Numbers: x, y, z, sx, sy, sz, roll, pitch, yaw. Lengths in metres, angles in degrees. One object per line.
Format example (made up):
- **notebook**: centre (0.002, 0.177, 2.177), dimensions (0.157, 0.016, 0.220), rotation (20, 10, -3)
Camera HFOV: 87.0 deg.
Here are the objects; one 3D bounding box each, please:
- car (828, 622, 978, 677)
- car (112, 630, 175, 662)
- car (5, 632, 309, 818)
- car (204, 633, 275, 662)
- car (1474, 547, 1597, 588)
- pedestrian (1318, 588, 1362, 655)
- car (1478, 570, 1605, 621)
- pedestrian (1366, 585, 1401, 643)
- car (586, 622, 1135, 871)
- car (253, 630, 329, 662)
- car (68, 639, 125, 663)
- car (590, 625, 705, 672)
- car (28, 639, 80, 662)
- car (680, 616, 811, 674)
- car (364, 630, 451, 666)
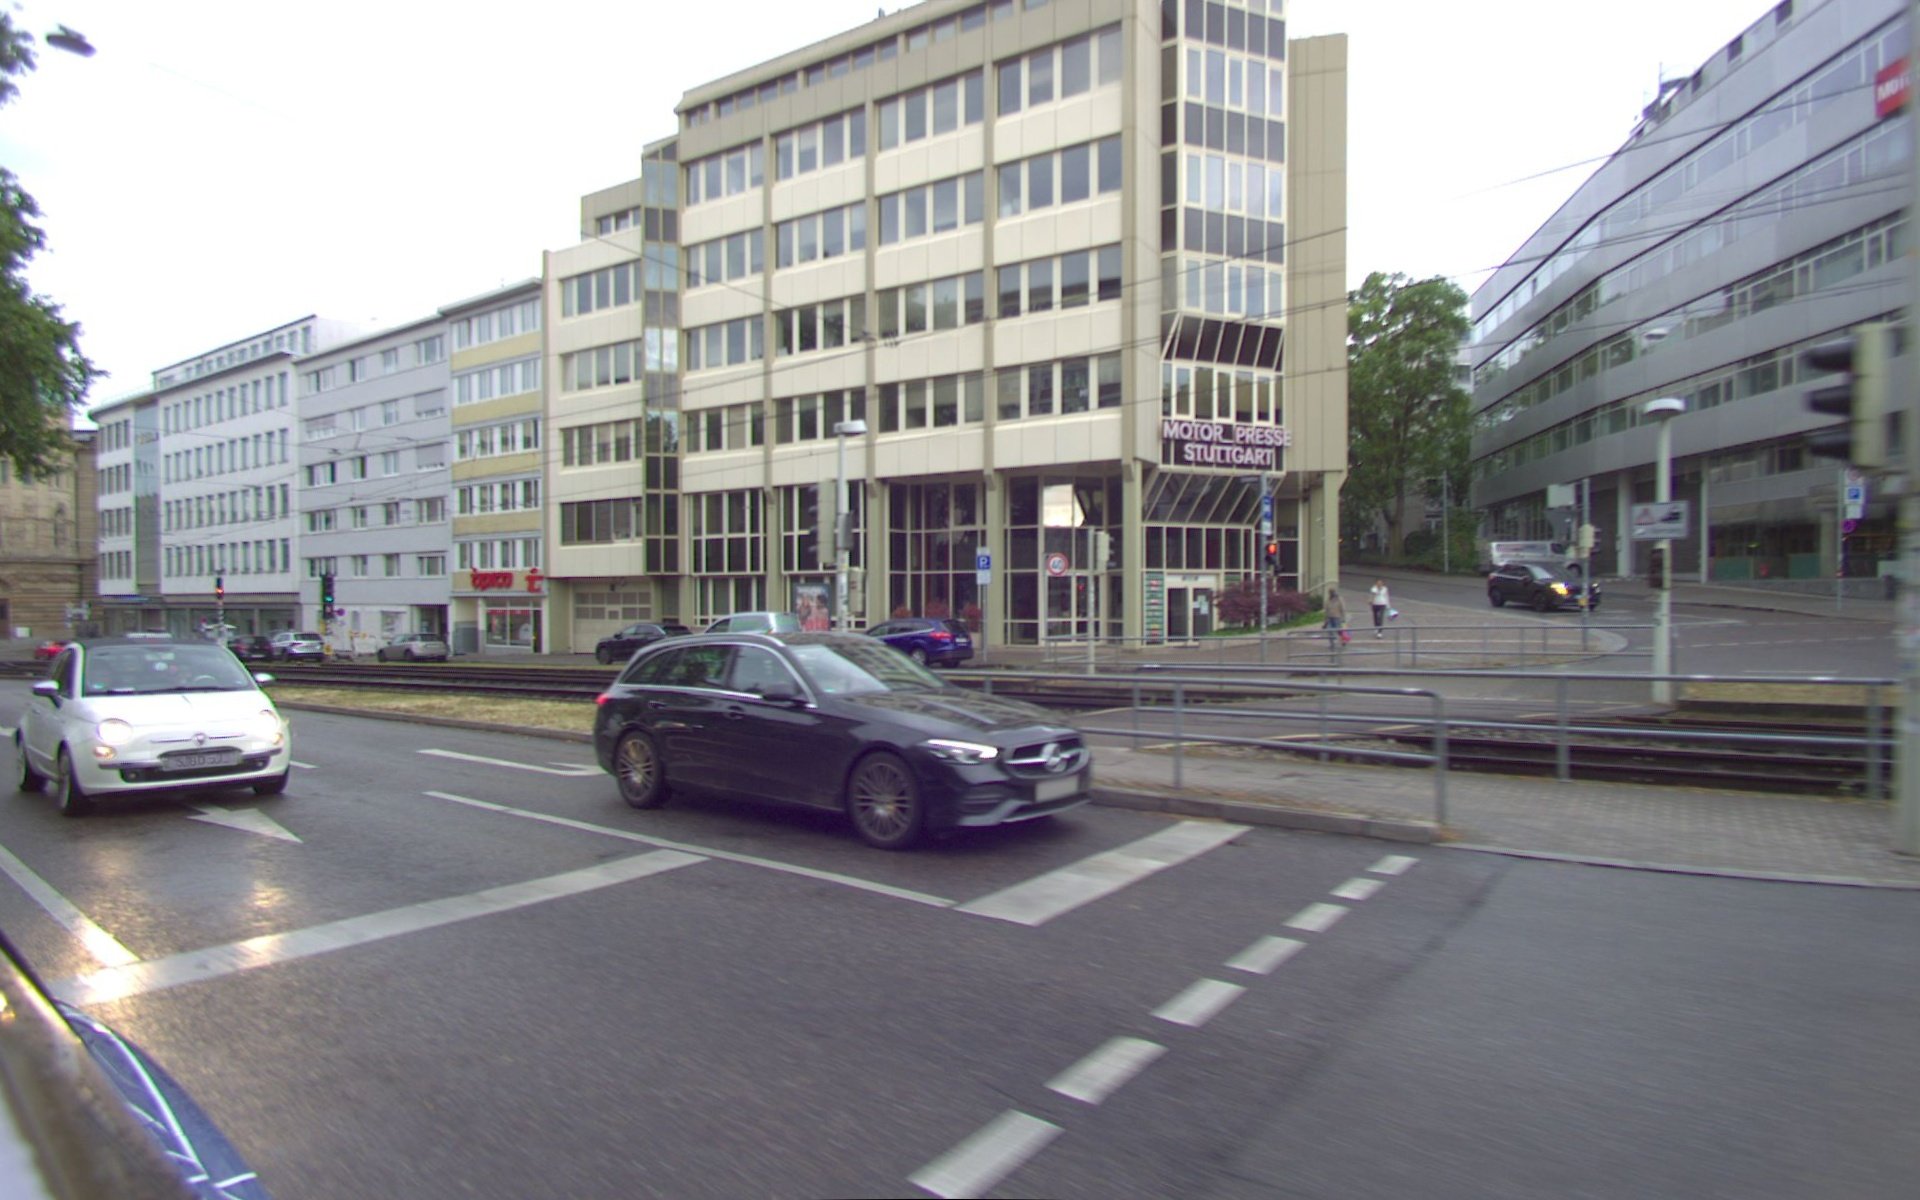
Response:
- **car**: centre (-1.700, 1.416, 29.531), dimensions (4.207, 1.488, 1.780), rotation (-1, -3, 35)
- **car**: centre (-53.198, 2.944, 65.920), dimensions (4.465, 1.950, 1.869), rotation (-1, 0, 33)
- **car**: centre (-7.743, 1.039, 9.669), dimensions (3.438, 1.445, 1.633), rotation (-2, -3, 41)
- **car**: centre (-35.574, 2.331, 49.948), dimensions (3.861, 1.367, 1.614), rotation (-2, -1, 34)
- **car**: centre (31.080, -1.730, 54.855), dimensions (5.356, 2.029, 1.993), rotation (0, -2, 12)
- **pedestrian**: centre (10.502, 0.586, 27.968), dimensions (0.747, 1.800, 0.834), rotation (-1, 1, -27)
- **car**: centre (21.015, -0.239, 36.832), dimensions (1.974, 1.592, 4.883), rotation (-1, 3, 3)
- **pedestrian**: centre (12.420, 0.406, 29.691), dimensions (0.711, 1.651, 0.759), rotation (-1, 0, 6)
- **car**: centre (-1.007, 0.931, 8.072), dimensions (4.473, 1.453, 1.777), rotation (-2, -3, 41)
- **car**: centre (-34.838, 2.356, 52.700), dimensions (4.066, 1.525, 1.869), rotation (-1, 0, 33)
- **car**: centre (-52.106, 3.056, 61.062), dimensions (3.861, 1.367, 1.614), rotation (-2, -1, 34)
- **car**: centre (-11.257, 1.720, 36.396), dimensions (4.066, 1.525, 1.781), rotation (-1, 0, 33)
- **car**: centre (-68.893, 3.801, 76.954), dimensions (4.465, 1.636, 1.869), rotation (-1, 0, 33)
- **car**: centre (-7.123, 1.460, 33.475), dimensions (4.203, 1.759, 1.782), rotation (-1, 0, 32)
- **car**: centre (-25.289, 2.173, 46.291), dimensions (4.066, 1.525, 1.781), rotation (-1, 0, 33)
